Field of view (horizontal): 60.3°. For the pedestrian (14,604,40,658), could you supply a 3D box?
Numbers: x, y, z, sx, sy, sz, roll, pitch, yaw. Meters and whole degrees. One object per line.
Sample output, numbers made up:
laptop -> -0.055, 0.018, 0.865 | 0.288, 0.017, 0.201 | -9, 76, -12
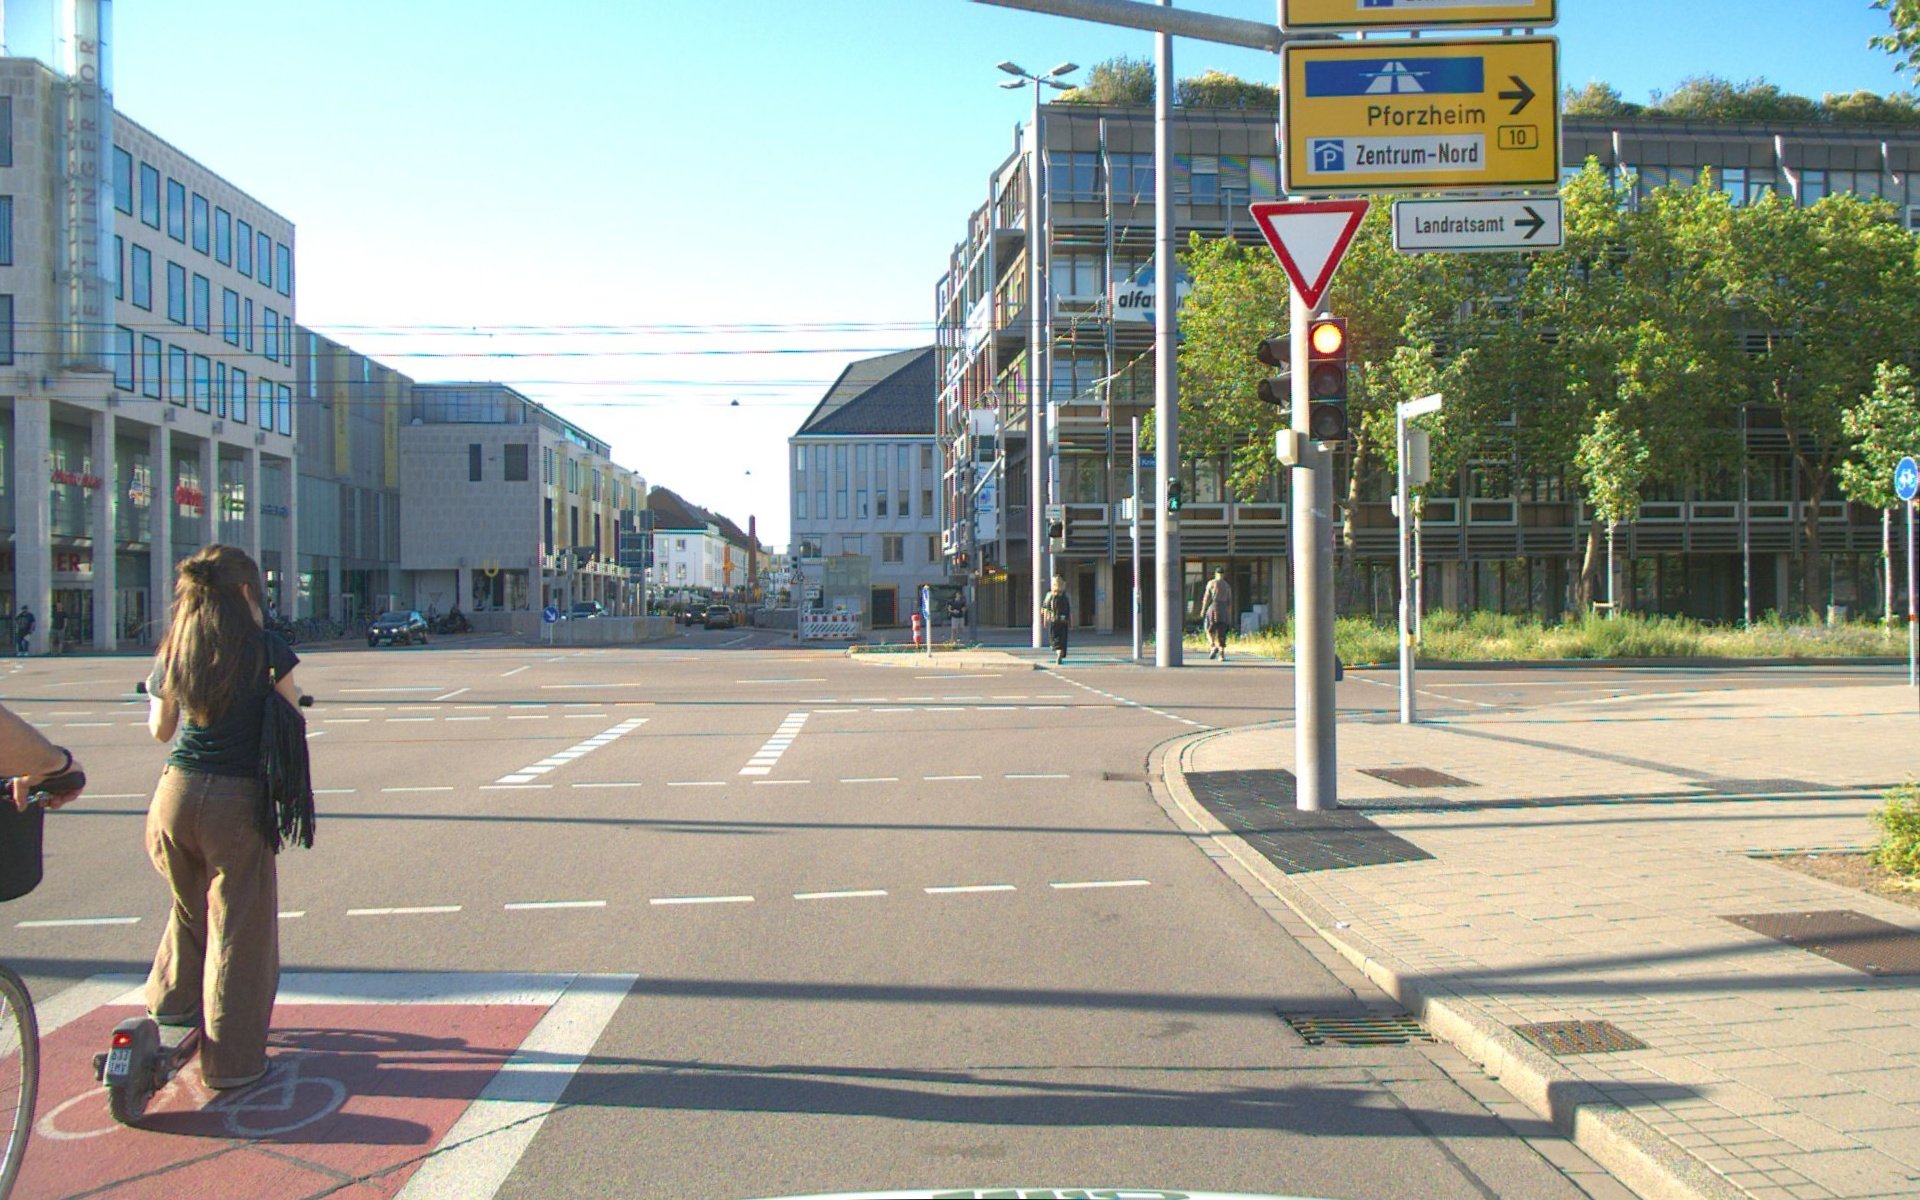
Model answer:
pedestrian -> -32.863, 1.087, 58.263 | 0.787, 1.876, 0.856 | 0, 0, -29

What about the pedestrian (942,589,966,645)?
pedestrian -> -0.204, 0.586, 57.295 | 0.772, 1.923, 0.644 | 1, -1, -1

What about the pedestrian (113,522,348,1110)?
pedestrian -> -2.191, 0.614, 5.026 | 0.540, 1.661, 0.569 | 1, -1, -16

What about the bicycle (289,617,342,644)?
bicycle -> -30.714, 1.459, 78.818 | 2.260, 1.244, 0.611 | 0, 0, -3

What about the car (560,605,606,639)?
car -> -19.806, 1.133, 86.954 | 1.762, 1.686, 3.996 | 1, 0, -5

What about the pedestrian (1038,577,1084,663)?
pedestrian -> 1.825, 0.357, 29.908 | 0.772, 1.518, 0.644 | 1, -1, -1

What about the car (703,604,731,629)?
car -> -15.823, 1.074, 107.945 | 1.705, 1.558, 3.849 | 1, 0, -8

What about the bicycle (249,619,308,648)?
bicycle -> -29.504, 1.448, 71.633 | 2.260, 1.244, 0.611 | 0, 0, -3

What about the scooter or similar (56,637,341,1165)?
scooter or similar -> -2.181, 0.783, 4.859 | 0.538, 1.316, 1.189 | 1, 0, -15

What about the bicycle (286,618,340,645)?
bicycle -> -30.065, 1.462, 76.848 | 2.260, 1.244, 0.611 | 0, 0, -3

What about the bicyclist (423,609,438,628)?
bicyclist -> -30.016, 1.051, 93.708 | 0.502, 1.103, 0.622 | 1, 0, 38

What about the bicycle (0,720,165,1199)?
bicycle -> -2.085, 0.866, 2.925 | 0.475, 1.176, 1.831 | 1, 0, -1

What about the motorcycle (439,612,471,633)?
motorcycle -> -29.760, 1.343, 97.475 | 1.775, 1.228, 0.509 | 1, 0, -16

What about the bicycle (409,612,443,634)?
bicycle -> -30.189, 1.282, 93.504 | 0.502, 1.228, 1.802 | 1, 0, 38

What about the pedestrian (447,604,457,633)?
pedestrian -> -30.097, 1.089, 98.078 | 0.512, 1.709, 0.581 | 1, 0, -14

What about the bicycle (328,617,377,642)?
bicycle -> -30.927, 1.480, 84.267 | 2.260, 1.244, 0.611 | 0, 0, -3

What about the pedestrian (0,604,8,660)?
pedestrian -> -33.230, 1.084, 56.937 | 0.706, 1.918, 0.780 | 1, -1, -28

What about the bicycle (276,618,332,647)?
bicycle -> -29.604, 1.460, 74.697 | 2.260, 1.244, 0.611 | 0, 0, -3

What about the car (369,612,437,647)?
car -> -23.378, 1.217, 69.484 | 1.597, 1.365, 3.998 | -3, 0, -3

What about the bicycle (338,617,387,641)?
bicycle -> -30.815, 1.487, 85.338 | 2.260, 1.244, 0.611 | 0, 0, -3

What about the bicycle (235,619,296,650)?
bicycle -> -29.127, 1.444, 69.402 | 2.260, 1.244, 0.611 | 0, 0, -3

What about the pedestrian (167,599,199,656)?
pedestrian -> -28.439, 1.011, 60.523 | 0.868, 2.049, 0.771 | 1, -1, -12

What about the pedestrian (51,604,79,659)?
pedestrian -> -31.172, 1.079, 57.603 | 0.788, 1.876, 0.854 | 0, 0, -33

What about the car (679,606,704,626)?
car -> -23.115, 1.336, 142.660 | 1.762, 1.686, 3.996 | 1, 0, -5

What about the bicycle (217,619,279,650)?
bicycle -> -29.334, 1.435, 68.116 | 2.260, 1.244, 0.611 | 0, 0, -3

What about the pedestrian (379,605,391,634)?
pedestrian -> -34.760, 1.177, 99.965 | 0.544, 1.709, 0.606 | 1, 0, -11

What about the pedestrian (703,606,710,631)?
pedestrian -> -17.908, 1.317, 116.825 | 0.511, 1.709, 0.582 | 1, 0, -8

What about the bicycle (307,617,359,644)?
bicycle -> -30.334, 1.471, 80.051 | 2.260, 1.244, 0.611 | 0, 0, -3

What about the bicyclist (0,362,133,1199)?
bicyclist -> -1.981, 0.462, 2.851 | 0.647, 1.750, 0.865 | 1, -1, -1

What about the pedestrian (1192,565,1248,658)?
pedestrian -> 4.864, 0.210, 31.012 | 0.861, 1.694, 0.964 | 1, -1, -1

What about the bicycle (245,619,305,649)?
bicycle -> -29.291, 1.448, 70.756 | 2.260, 1.244, 0.611 | 0, 0, -3
